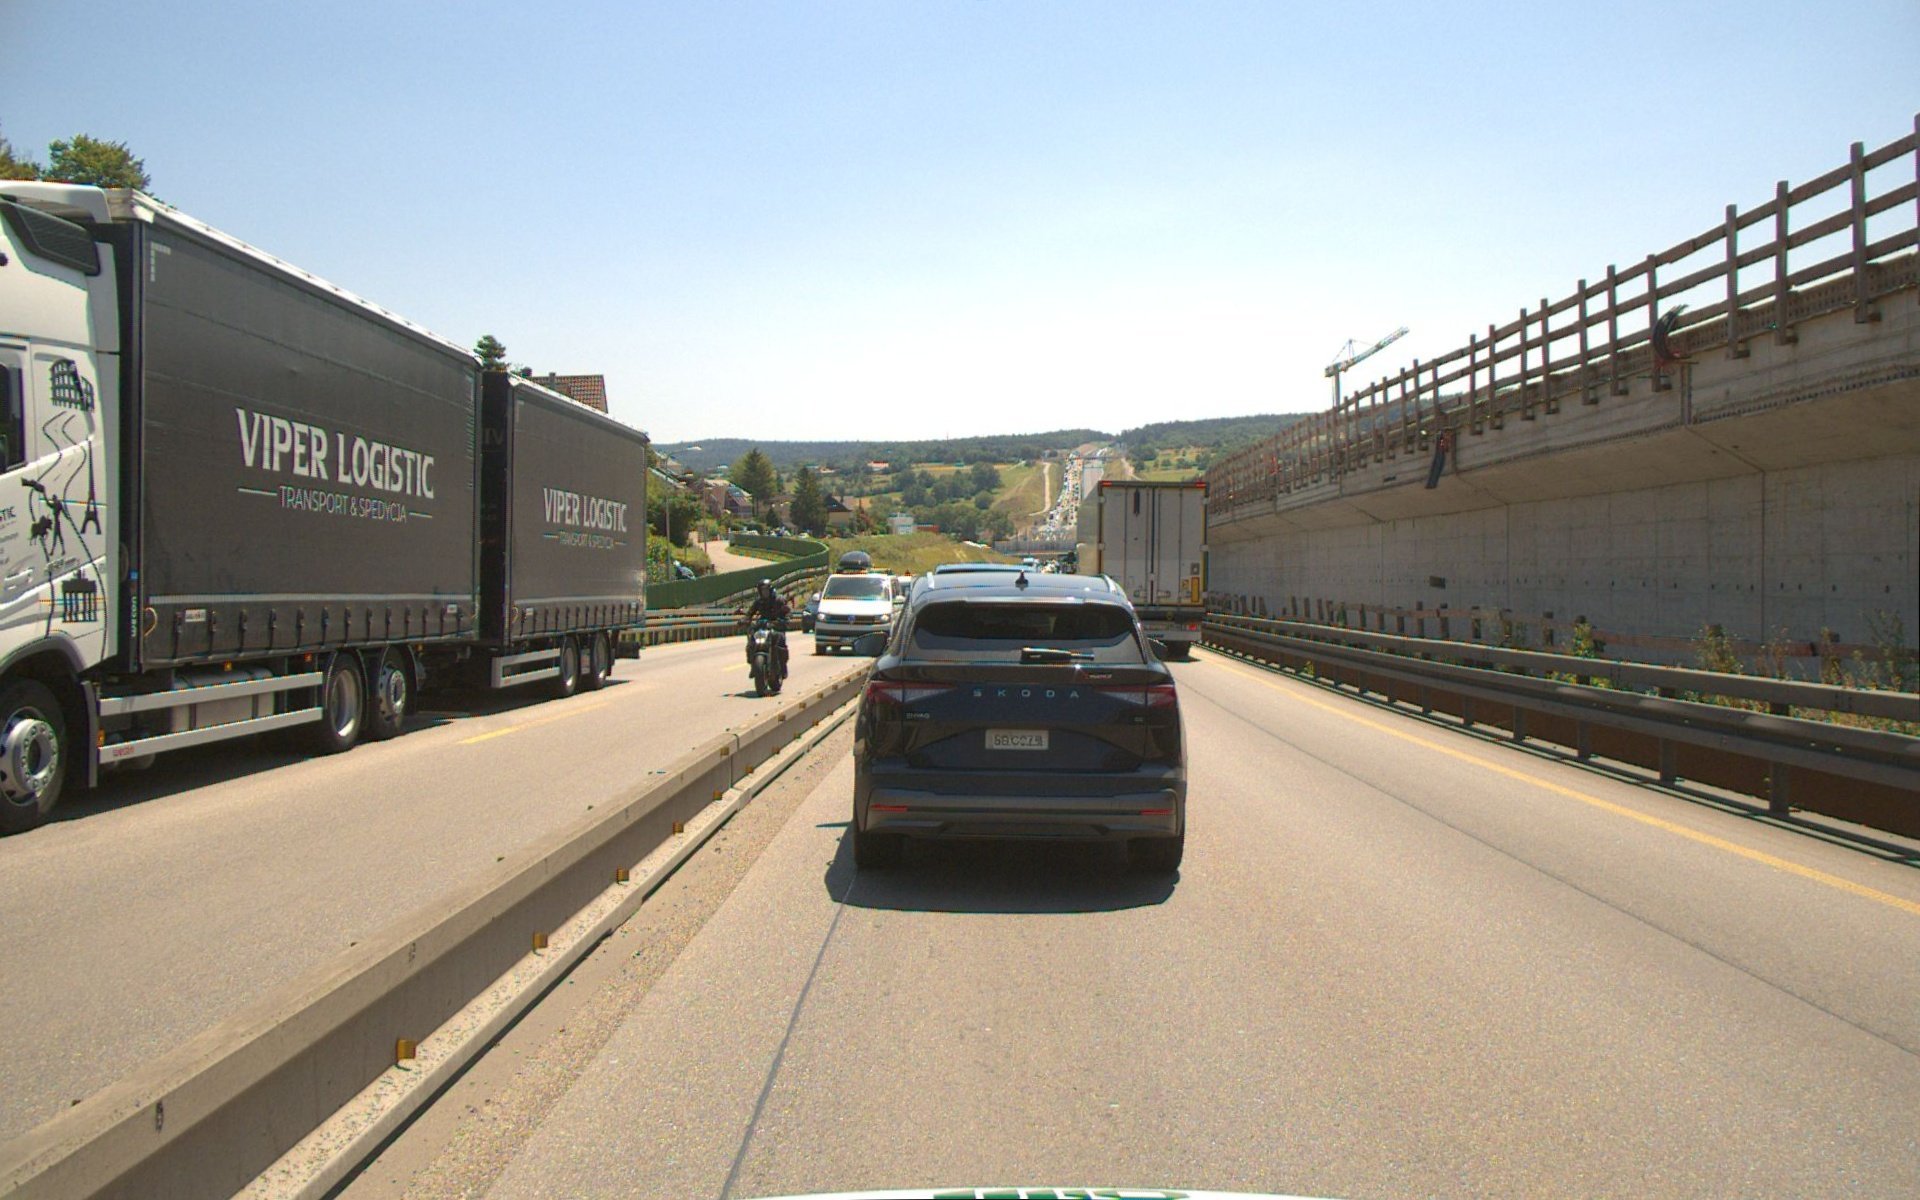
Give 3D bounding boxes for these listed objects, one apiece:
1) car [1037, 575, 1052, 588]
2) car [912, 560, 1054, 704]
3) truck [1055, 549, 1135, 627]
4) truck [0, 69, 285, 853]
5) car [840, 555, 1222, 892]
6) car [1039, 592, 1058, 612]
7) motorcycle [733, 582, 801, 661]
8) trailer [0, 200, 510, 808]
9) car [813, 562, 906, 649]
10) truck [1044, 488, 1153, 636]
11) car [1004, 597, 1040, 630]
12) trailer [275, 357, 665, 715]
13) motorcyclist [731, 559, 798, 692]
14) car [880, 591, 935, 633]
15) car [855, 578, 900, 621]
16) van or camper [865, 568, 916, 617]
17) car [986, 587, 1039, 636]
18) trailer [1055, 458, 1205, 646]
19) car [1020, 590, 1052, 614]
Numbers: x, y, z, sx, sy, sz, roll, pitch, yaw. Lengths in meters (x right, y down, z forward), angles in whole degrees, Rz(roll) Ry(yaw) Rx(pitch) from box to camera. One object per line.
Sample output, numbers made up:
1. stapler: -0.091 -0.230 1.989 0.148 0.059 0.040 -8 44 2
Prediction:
1. car: 11.497 -2.517 225.409 1.806 1.613 3.836 1 -1 1
2. car: 0.257 0.401 24.285 1.673 1.914 3.996 1 1 -5
3. truck: 5.995 -0.419 75.365 3.128 3.247 12.811 0 -1 2
4. truck: -6.680 -0.791 10.461 2.695 4.358 4.957 1 0 0
5. car: 0.216 0.630 9.964 1.806 1.614 3.903 1 -1 -5
6. car: 8.200 0.220 153.156 1.665 1.758 3.838 1 -1 3
7. motorcycle: -2.813 0.298 24.257 0.770 1.098 1.912 1 0 0
8. trailer: -6.651 -0.735 15.321 2.701 4.141 8.008 1 1 0
9. car: -2.407 0.154 40.741 1.981 1.995 4.898 1 -1 0
10. truck: 4.070 -1.002 50.092 2.462 4.095 8.235 1 -1 -1
11. car: 3.310 0.702 88.502 1.672 1.650 3.999 1 1 -1
12. trailer: -6.515 -0.824 23.668 2.700 4.141 8.637 1 1 2
13. motorcyclist: -2.835 0.357 24.071 0.836 1.887 0.983 1 0 0
14. car: -1.980 0.472 63.294 1.953 1.530 4.648 1 -1 0
15. car: -4.092 0.010 82.535 1.952 2.049 4.000 1 -1 1
16. van or camper: -3.821 -0.368 91.811 2.305 2.560 6.329 1 -1 2
17. car: 1.861 0.384 59.693 1.672 1.650 3.999 1 1 -1
18. trailer: 4.168 -1.014 43.110 2.480 4.199 11.544 1 -1 -1
19. car: 5.164 0.159 112.677 1.953 1.613 3.836 1 -1 0
